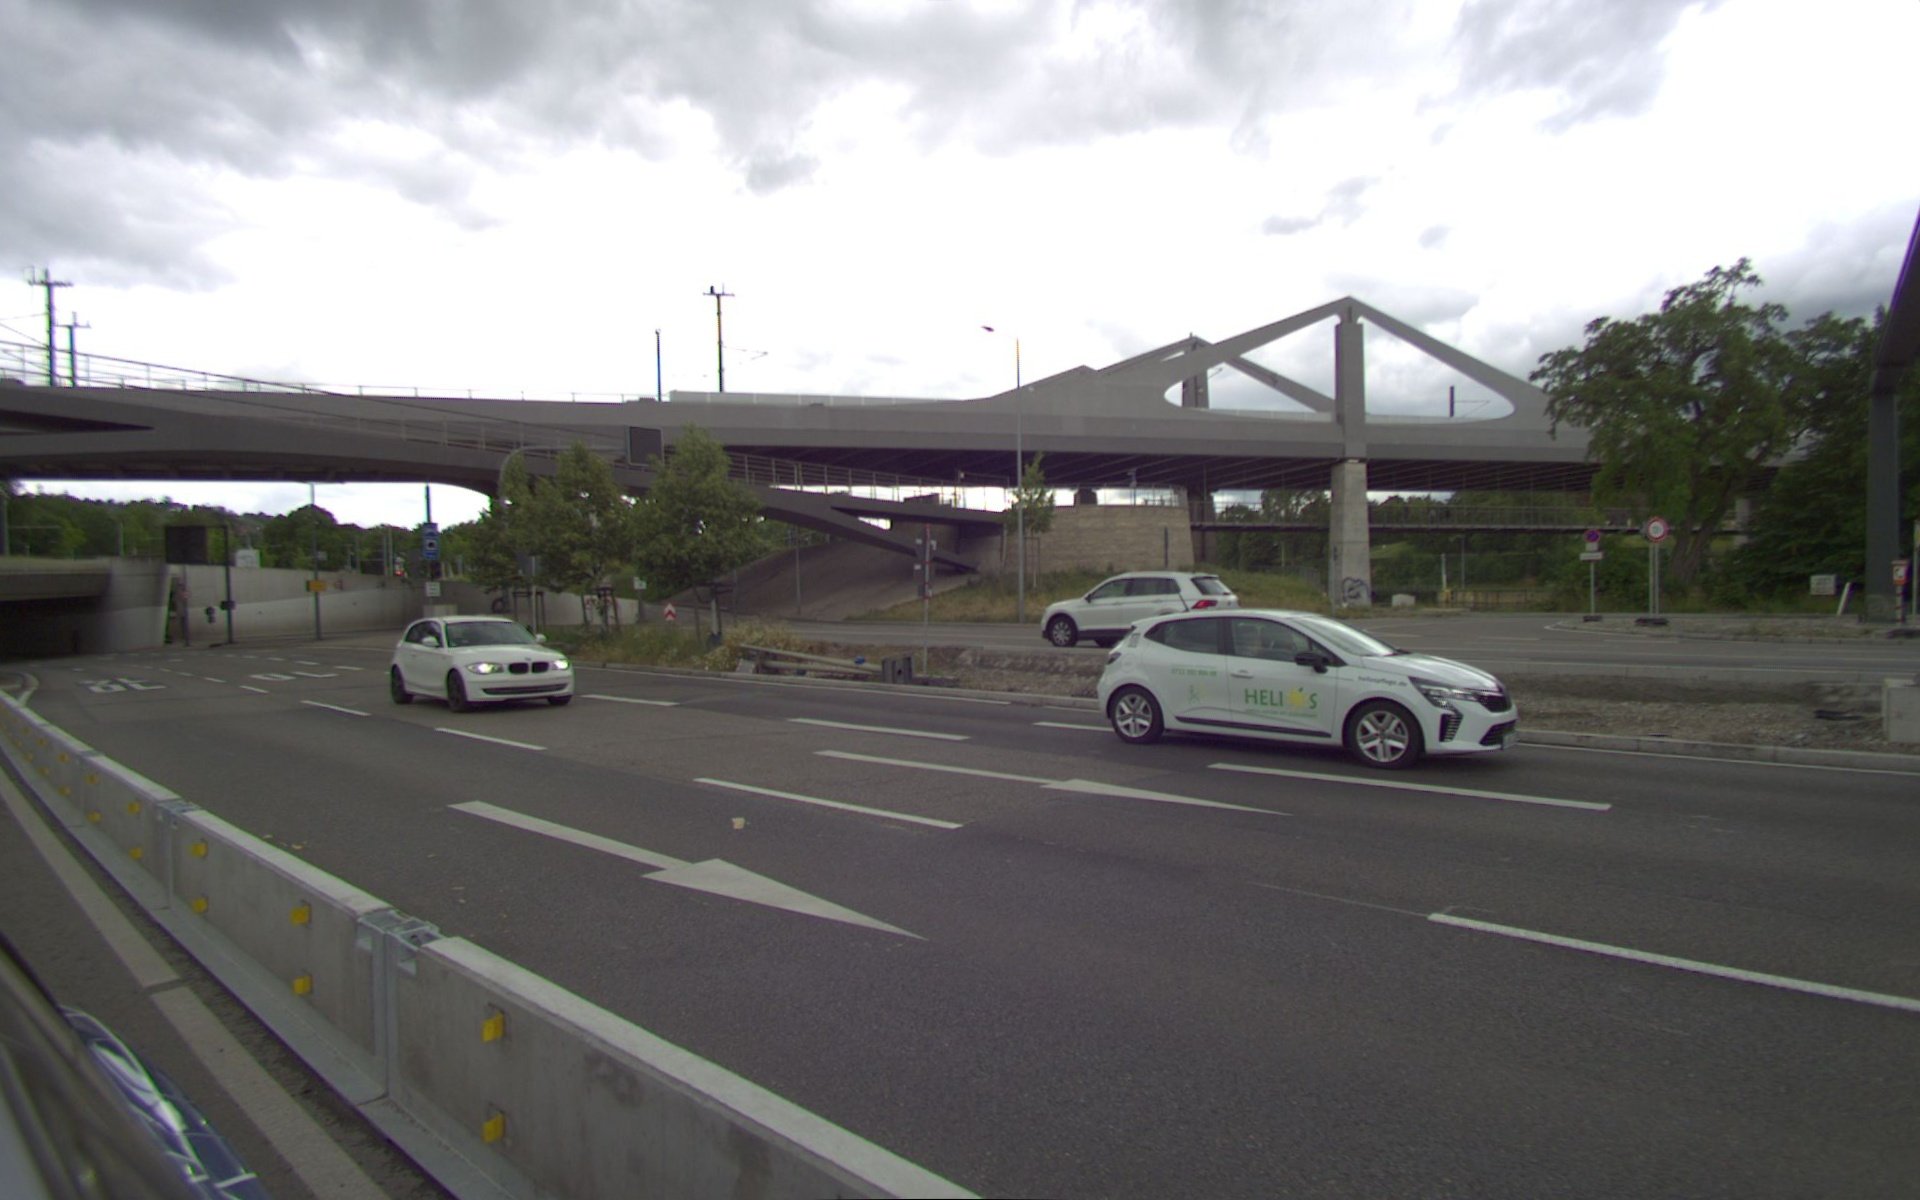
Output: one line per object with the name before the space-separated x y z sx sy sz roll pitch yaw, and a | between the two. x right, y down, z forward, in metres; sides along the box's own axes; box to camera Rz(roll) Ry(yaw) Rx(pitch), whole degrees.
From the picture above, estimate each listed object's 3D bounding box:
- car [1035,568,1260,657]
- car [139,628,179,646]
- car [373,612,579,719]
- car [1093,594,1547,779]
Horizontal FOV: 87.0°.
car | 3.832 0.256 21.122 4.286 1.674 1.781 -2 0 42
car | -71.530 3.305 90.327 4.609 1.488 1.772 -2 0 39
car | -7.832 0.942 16.211 3.982 1.443 1.620 0 1 43
car | 3.437 0.738 10.156 3.996 1.495 1.559 -2 -1 42
